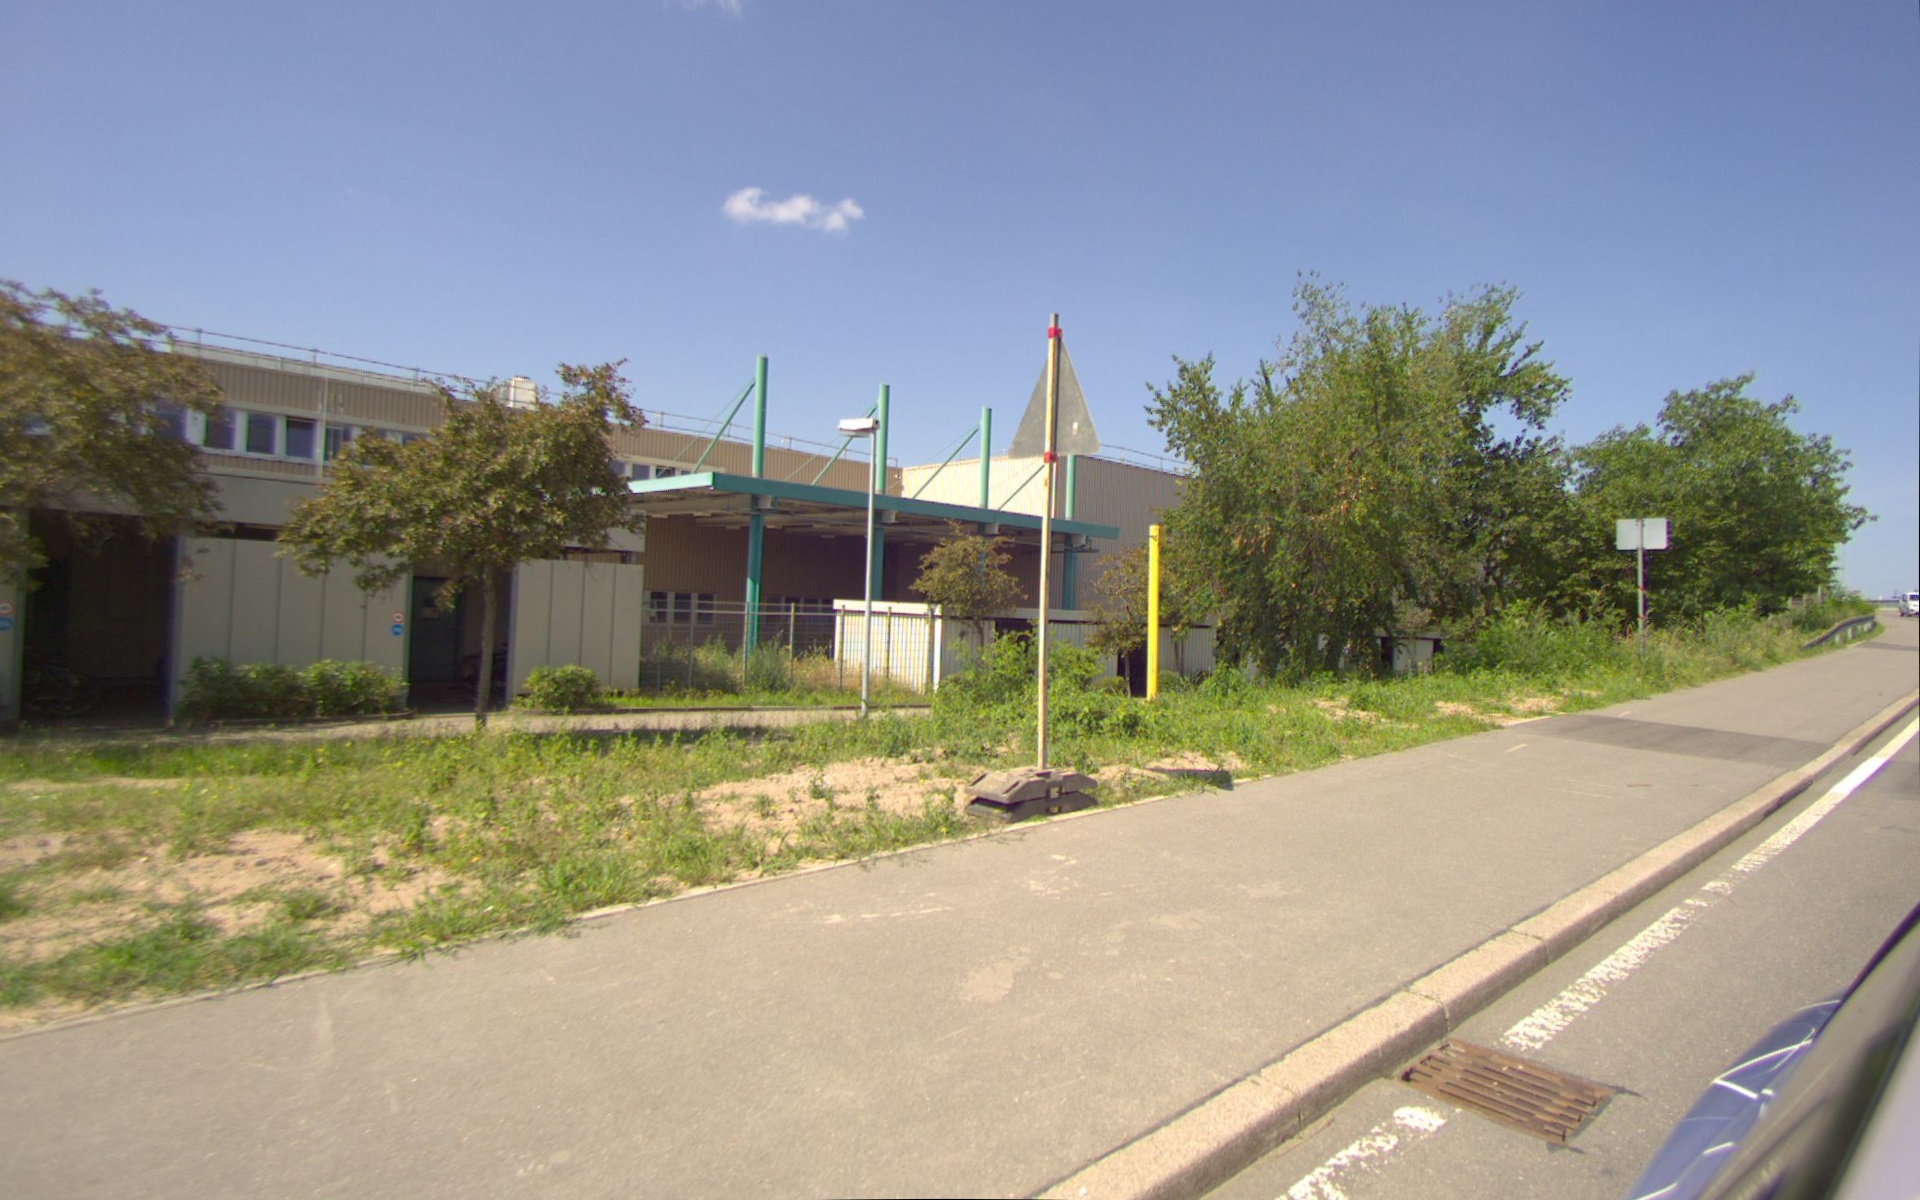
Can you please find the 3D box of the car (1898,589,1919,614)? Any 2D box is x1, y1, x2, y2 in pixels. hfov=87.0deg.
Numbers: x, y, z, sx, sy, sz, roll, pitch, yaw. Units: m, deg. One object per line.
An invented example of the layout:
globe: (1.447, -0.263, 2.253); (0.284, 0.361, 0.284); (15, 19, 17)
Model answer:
car: (71.647, 0.104, 74.786); (2.071, 1.784, 4.247); (-1, -1, 24)
